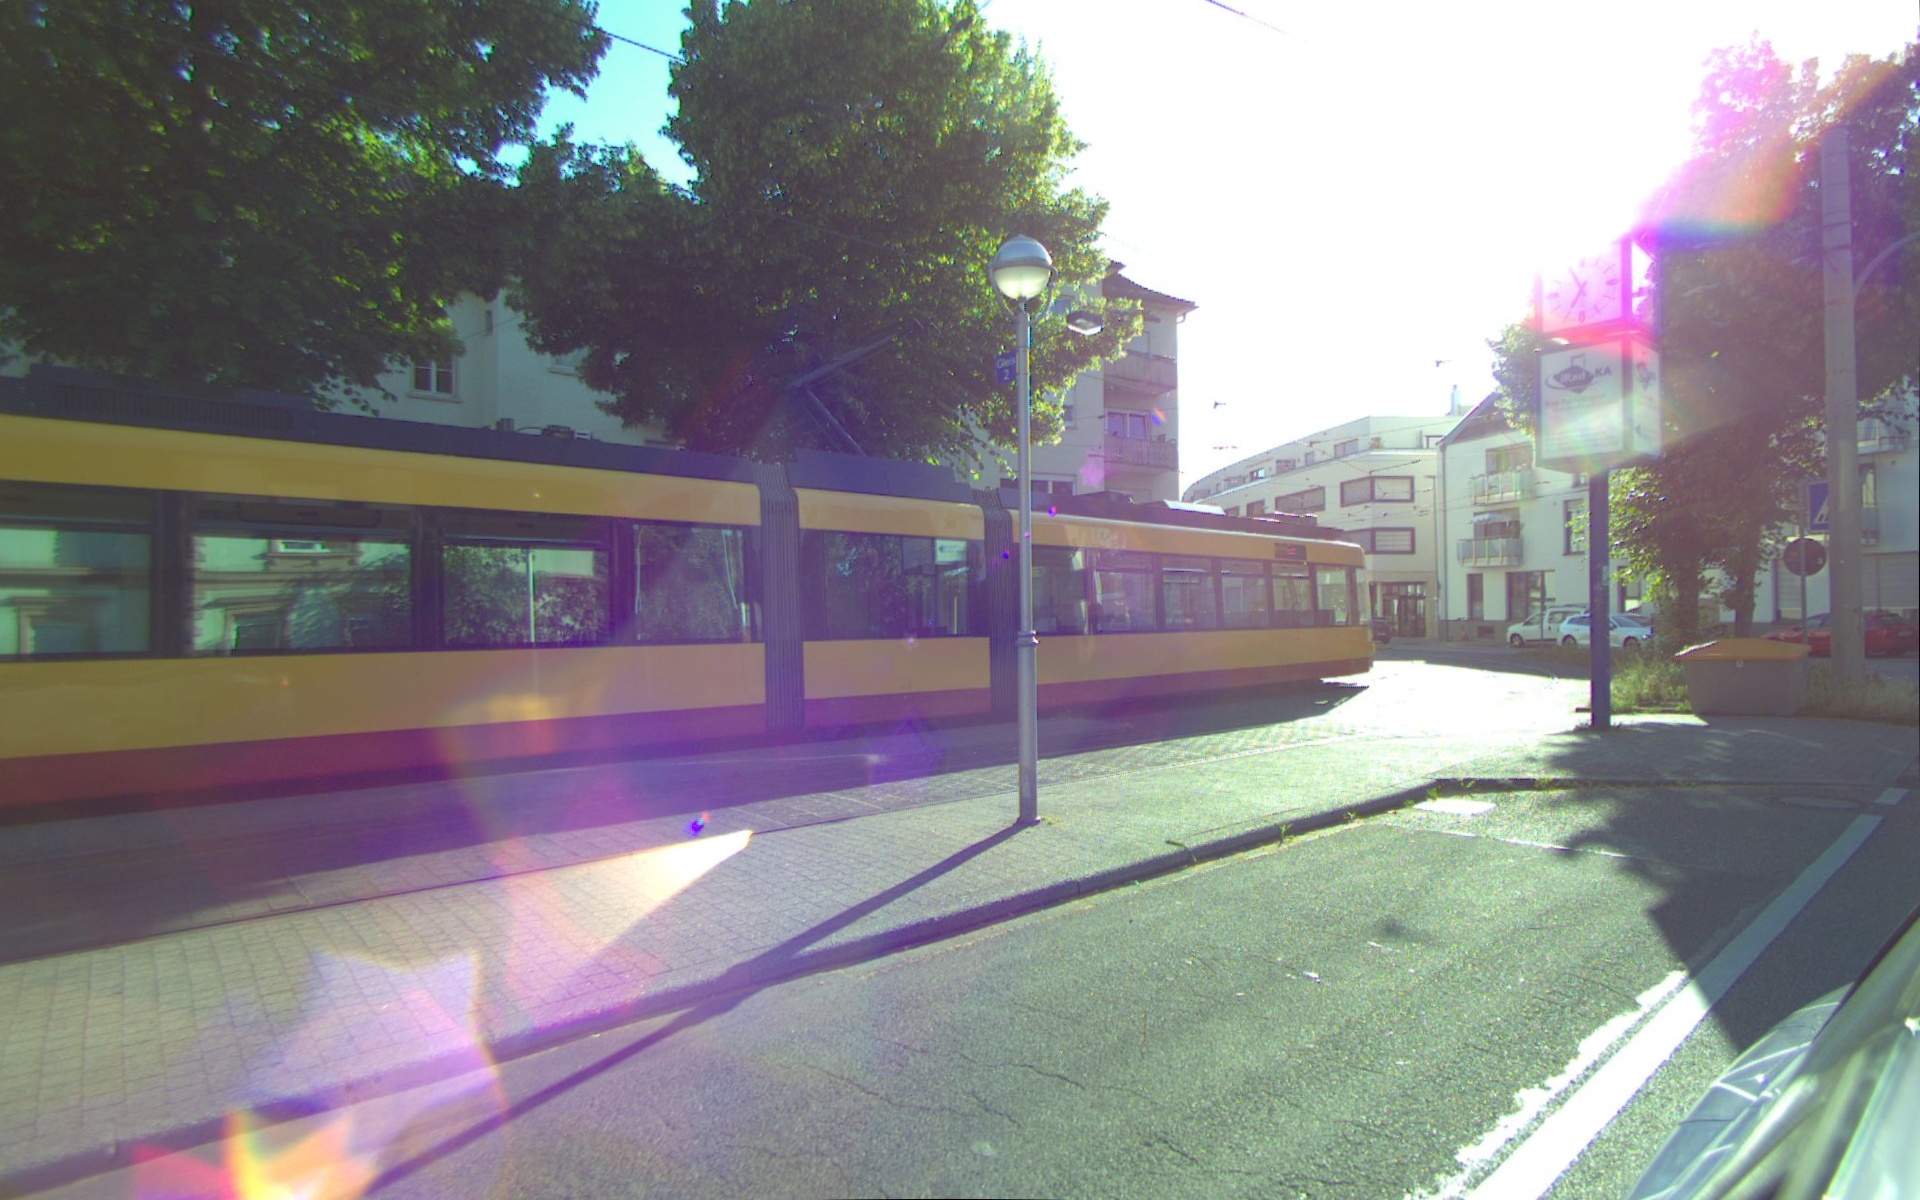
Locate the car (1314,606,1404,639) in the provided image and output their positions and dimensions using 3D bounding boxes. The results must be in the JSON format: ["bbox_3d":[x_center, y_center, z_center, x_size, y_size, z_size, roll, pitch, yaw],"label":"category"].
[{"bbox_3d":[21.195,1.158,54.022,1.958,1.604,4.944,0,0,-14],"label":"car"}]

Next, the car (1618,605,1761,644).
[{"bbox_3d":[27.663,0.924,38.556,1.895,1.364,4.133,-1,-1,-14],"label":"car"}]

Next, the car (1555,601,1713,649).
[{"bbox_3d":[22.267,0.801,33.697,1.960,1.481,4.453,0,-1,-6],"label":"car"}]

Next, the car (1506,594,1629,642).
[{"bbox_3d":[26.237,0.731,43.862,1.958,1.981,4.281,0,0,-22],"label":"car"}]

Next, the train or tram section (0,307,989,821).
[{"bbox_3d":[-6.392,-0.244,8.898,15.666,3.465,2.961,0,0,-42],"label":"train or tram section"}]

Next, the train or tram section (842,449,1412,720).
[{"bbox_3d":[4.047,-0.163,18.582,13.237,3.465,2.960,0,0,-43],"label":"train or tram section"}]

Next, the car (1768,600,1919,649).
[{"bbox_3d":[29.114,0.814,33.071,1.574,1.481,4.211,-1,-2,-10],"label":"car"}]
